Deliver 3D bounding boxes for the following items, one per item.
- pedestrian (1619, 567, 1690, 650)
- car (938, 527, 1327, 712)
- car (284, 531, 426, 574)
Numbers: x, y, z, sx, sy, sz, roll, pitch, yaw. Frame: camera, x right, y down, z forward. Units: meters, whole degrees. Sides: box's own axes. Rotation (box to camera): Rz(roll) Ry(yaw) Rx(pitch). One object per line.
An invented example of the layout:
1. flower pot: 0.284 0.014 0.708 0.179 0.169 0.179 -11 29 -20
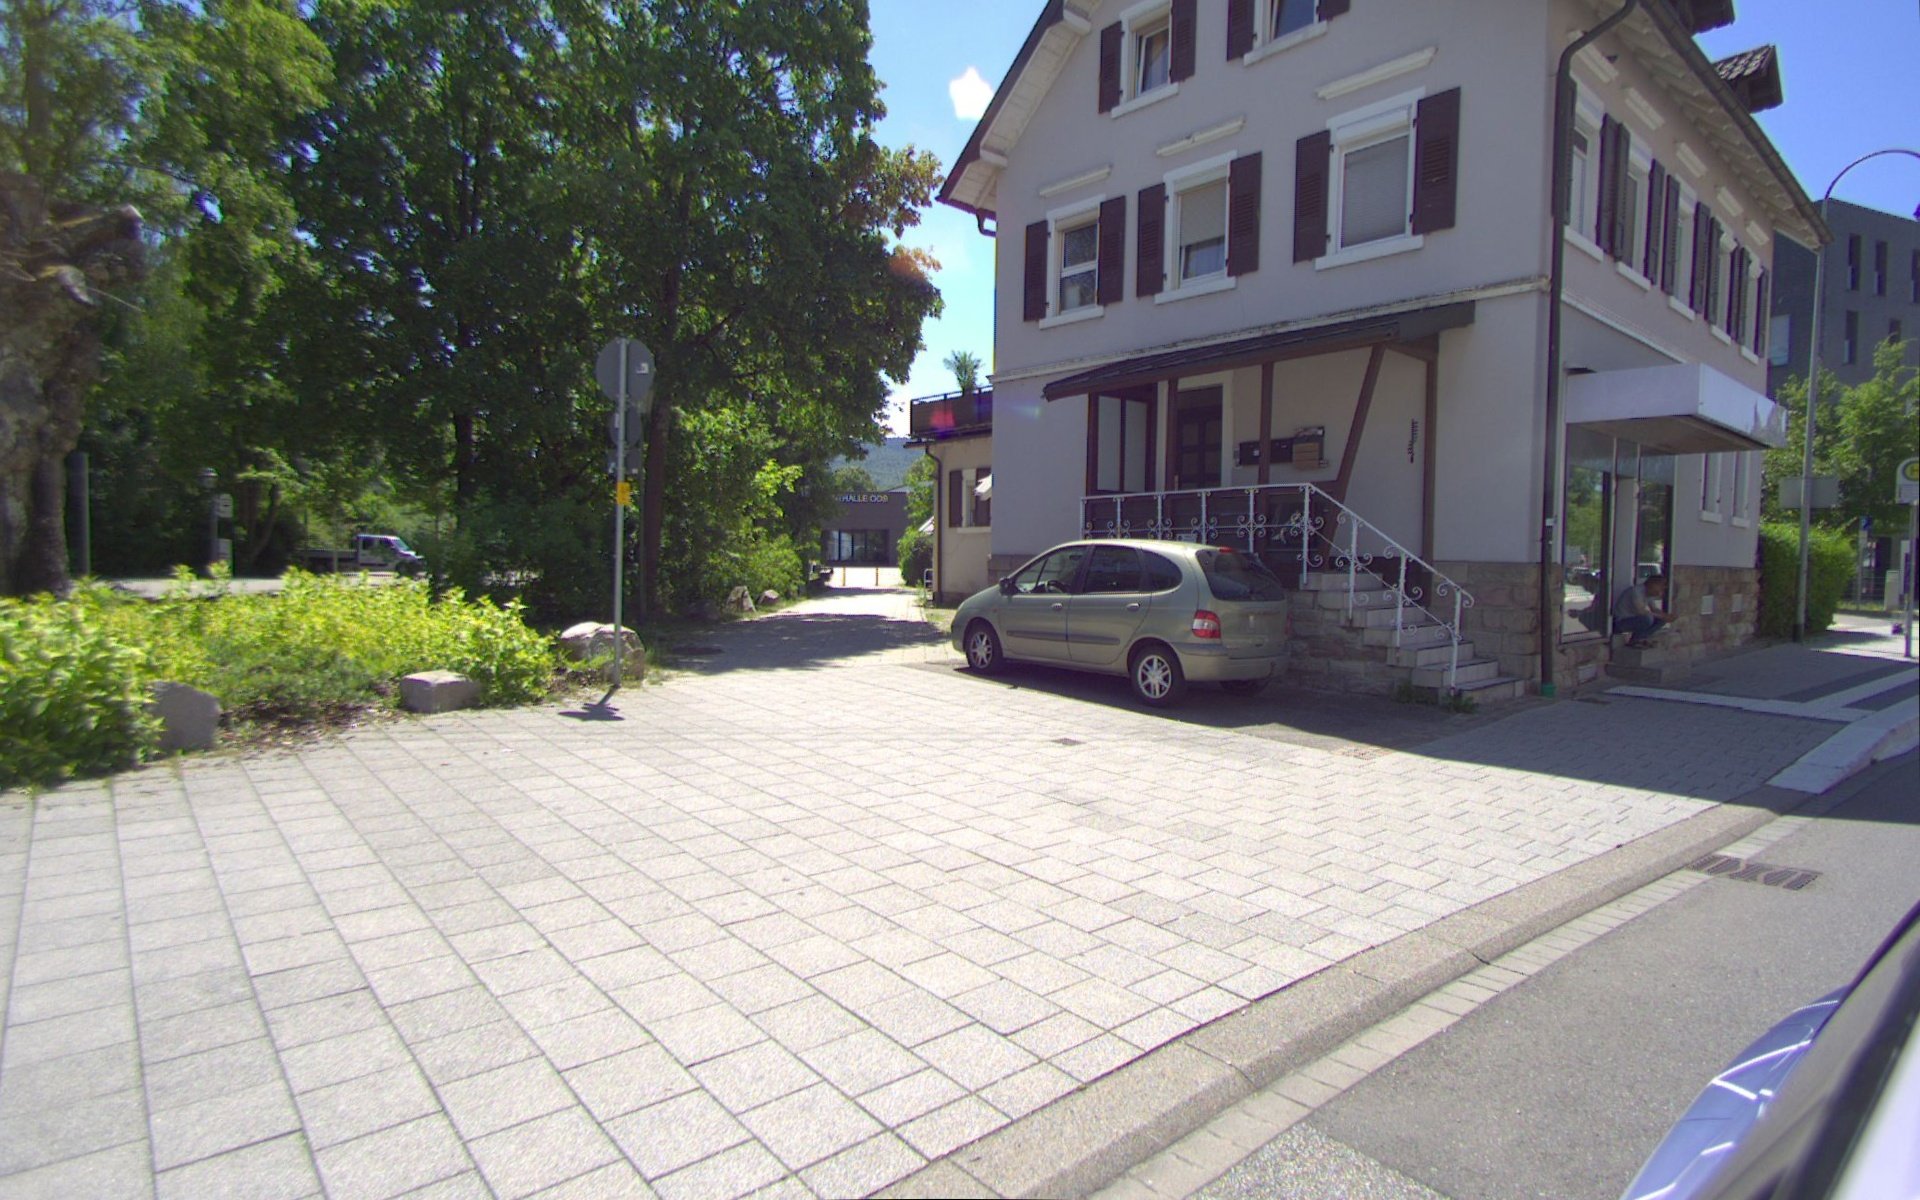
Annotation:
1. pedestrian: 8.972 0.091 13.076 0.712 1.011 0.590 -1 4 -45
2. car: 1.720 0.049 11.263 1.770 1.614 4.072 -1 5 -39
3. car: -34.453 -2.699 57.826 6.624 2.266 2.199 0 2 -11
